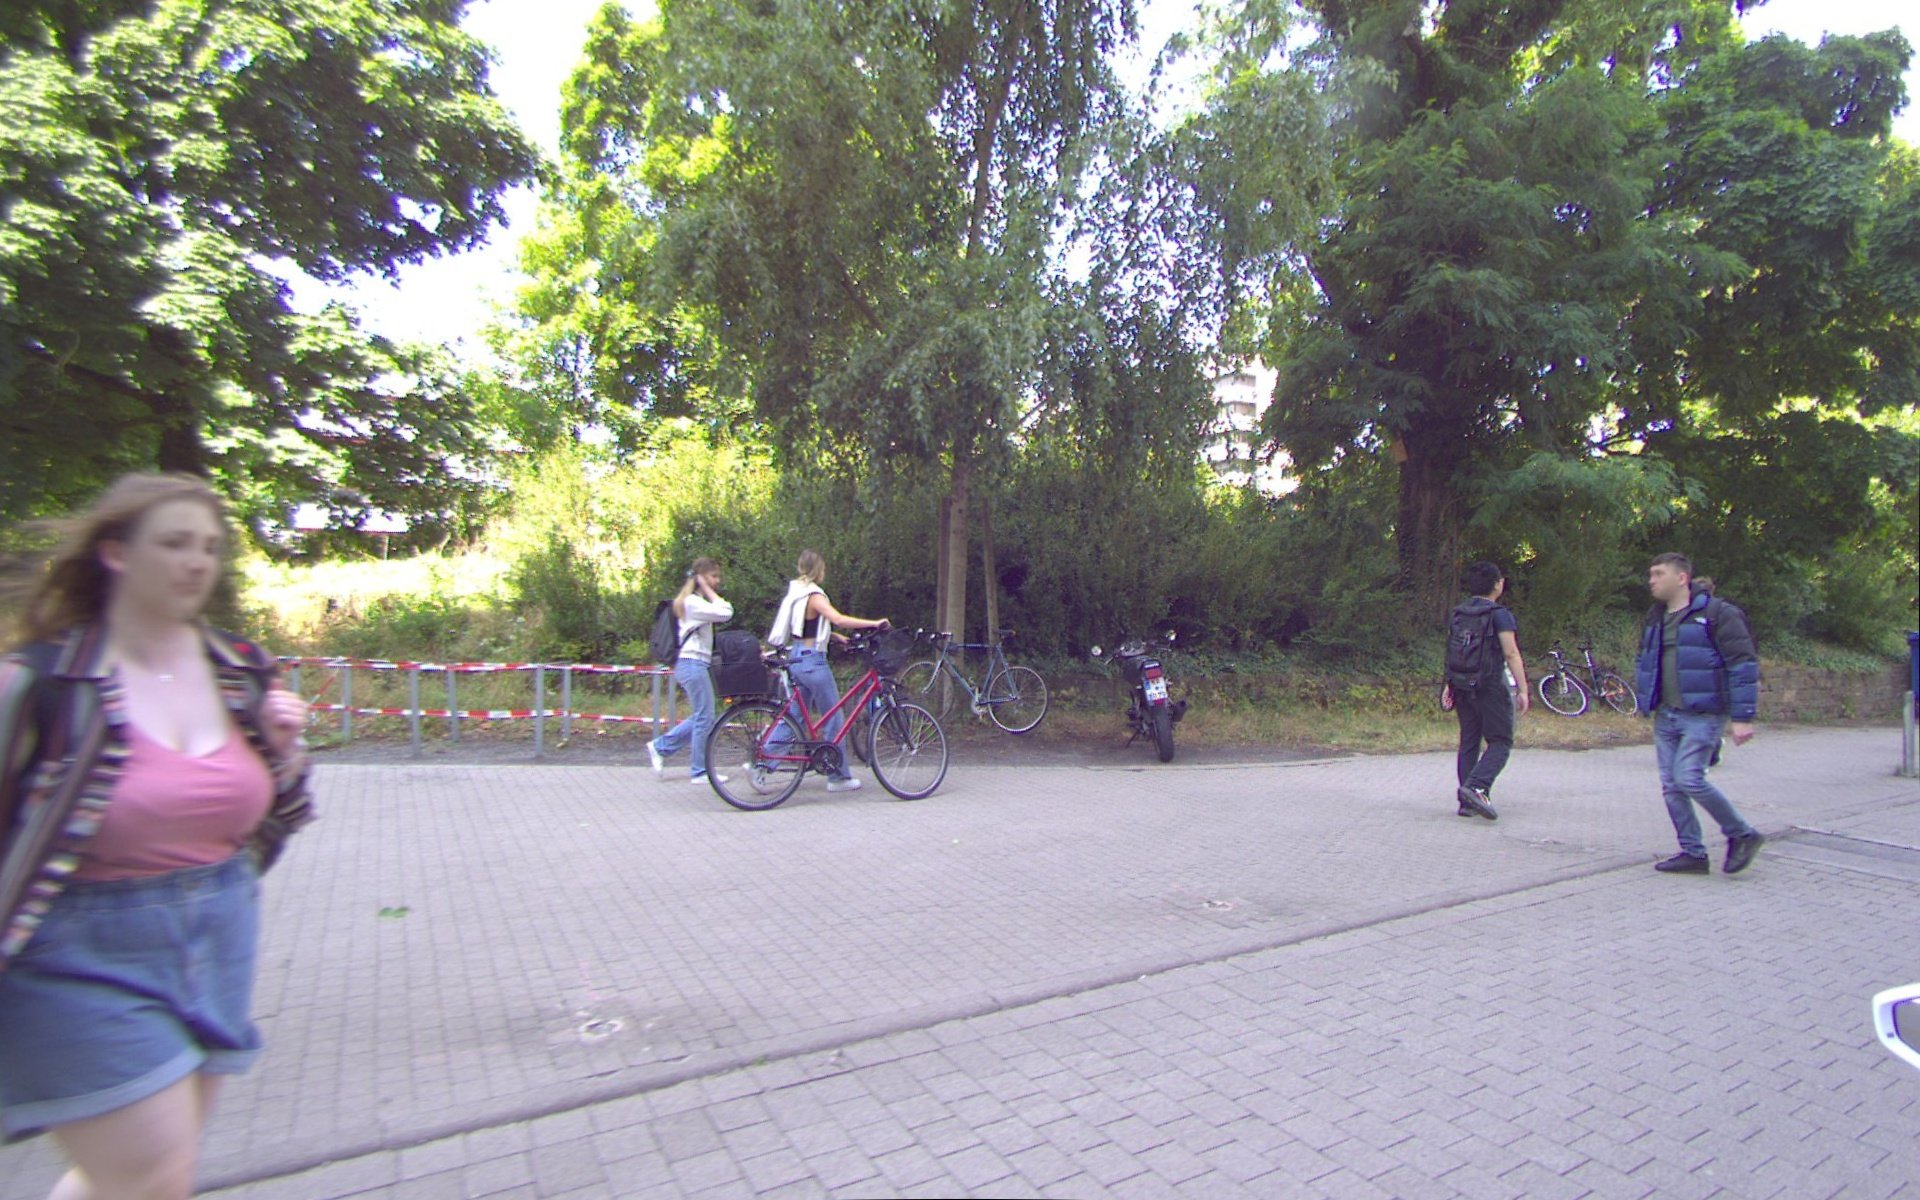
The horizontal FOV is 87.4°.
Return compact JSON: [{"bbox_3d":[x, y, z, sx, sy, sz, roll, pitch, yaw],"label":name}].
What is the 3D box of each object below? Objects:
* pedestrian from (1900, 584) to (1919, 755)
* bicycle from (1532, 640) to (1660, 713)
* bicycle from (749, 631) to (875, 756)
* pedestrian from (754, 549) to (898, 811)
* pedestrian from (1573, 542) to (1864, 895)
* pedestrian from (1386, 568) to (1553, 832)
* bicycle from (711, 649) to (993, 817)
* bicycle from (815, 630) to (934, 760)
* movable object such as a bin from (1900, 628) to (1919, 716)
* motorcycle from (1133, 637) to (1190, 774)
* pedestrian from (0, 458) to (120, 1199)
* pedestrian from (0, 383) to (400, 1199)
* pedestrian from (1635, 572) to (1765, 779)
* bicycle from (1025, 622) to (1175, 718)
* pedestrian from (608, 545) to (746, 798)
[{"bbox_3d":[11.291,0.795,11.358,1.071,1.906,0.719,2,-1,-33],"label":"pedestrian"},{"bbox_3d":[8.612,1.033,13.598,1.711,0.922,0.421,3,-1,-16],"label":"bicycle"},{"bbox_3d":[-1.385,0.847,9.713,0.465,1.061,1.700,1,-1,18],"label":"bicycle"},{"bbox_3d":[-0.968,0.539,7.173,0.922,1.747,0.675,0,-1,-18],"label":"pedestrian"},{"bbox_3d":[4.372,0.637,5.884,1.011,1.882,0.889,1,0,5],"label":"pedestrian"},{"bbox_3d":[3.631,0.668,7.167,0.894,1.747,0.680,1,0,-33],"label":"pedestrian"},{"bbox_3d":[-0.755,0.893,6.992,1.877,1.061,0.540,1,0,-16],"label":"bicycle"},{"bbox_3d":[-0.775,0.853,9.611,0.465,1.061,1.700,2,1,18],"label":"bicycle"},{"bbox_3d":[15.562,1.139,15.737,1.220,1.354,0.708,1,2,-21],"label":"movable object such as a bin"},{"bbox_3d":[1.930,0.935,9.570,0.464,1.061,2.027,1,1,12],"label":"motorcycle"},{"bbox_3d":[-2.741,0.545,2.289,1.043,1.747,0.719,0,-1,2],"label":"pedestrian"},{"bbox_3d":[-1.439,0.567,1.781,0.723,1.747,0.680,1,0,-33],"label":"pedestrian"},{"bbox_3d":[7.234,0.710,9.816,1.110,1.897,0.678,2,-1,-35],"label":"pedestrian"},{"bbox_3d":[1.653,0.831,11.940,1.669,1.061,0.473,2,1,-9],"label":"bicycle"},{"bbox_3d":[-2.074,0.499,7.410,0.673,1.747,0.731,0,-1,23],"label":"pedestrian"}]
